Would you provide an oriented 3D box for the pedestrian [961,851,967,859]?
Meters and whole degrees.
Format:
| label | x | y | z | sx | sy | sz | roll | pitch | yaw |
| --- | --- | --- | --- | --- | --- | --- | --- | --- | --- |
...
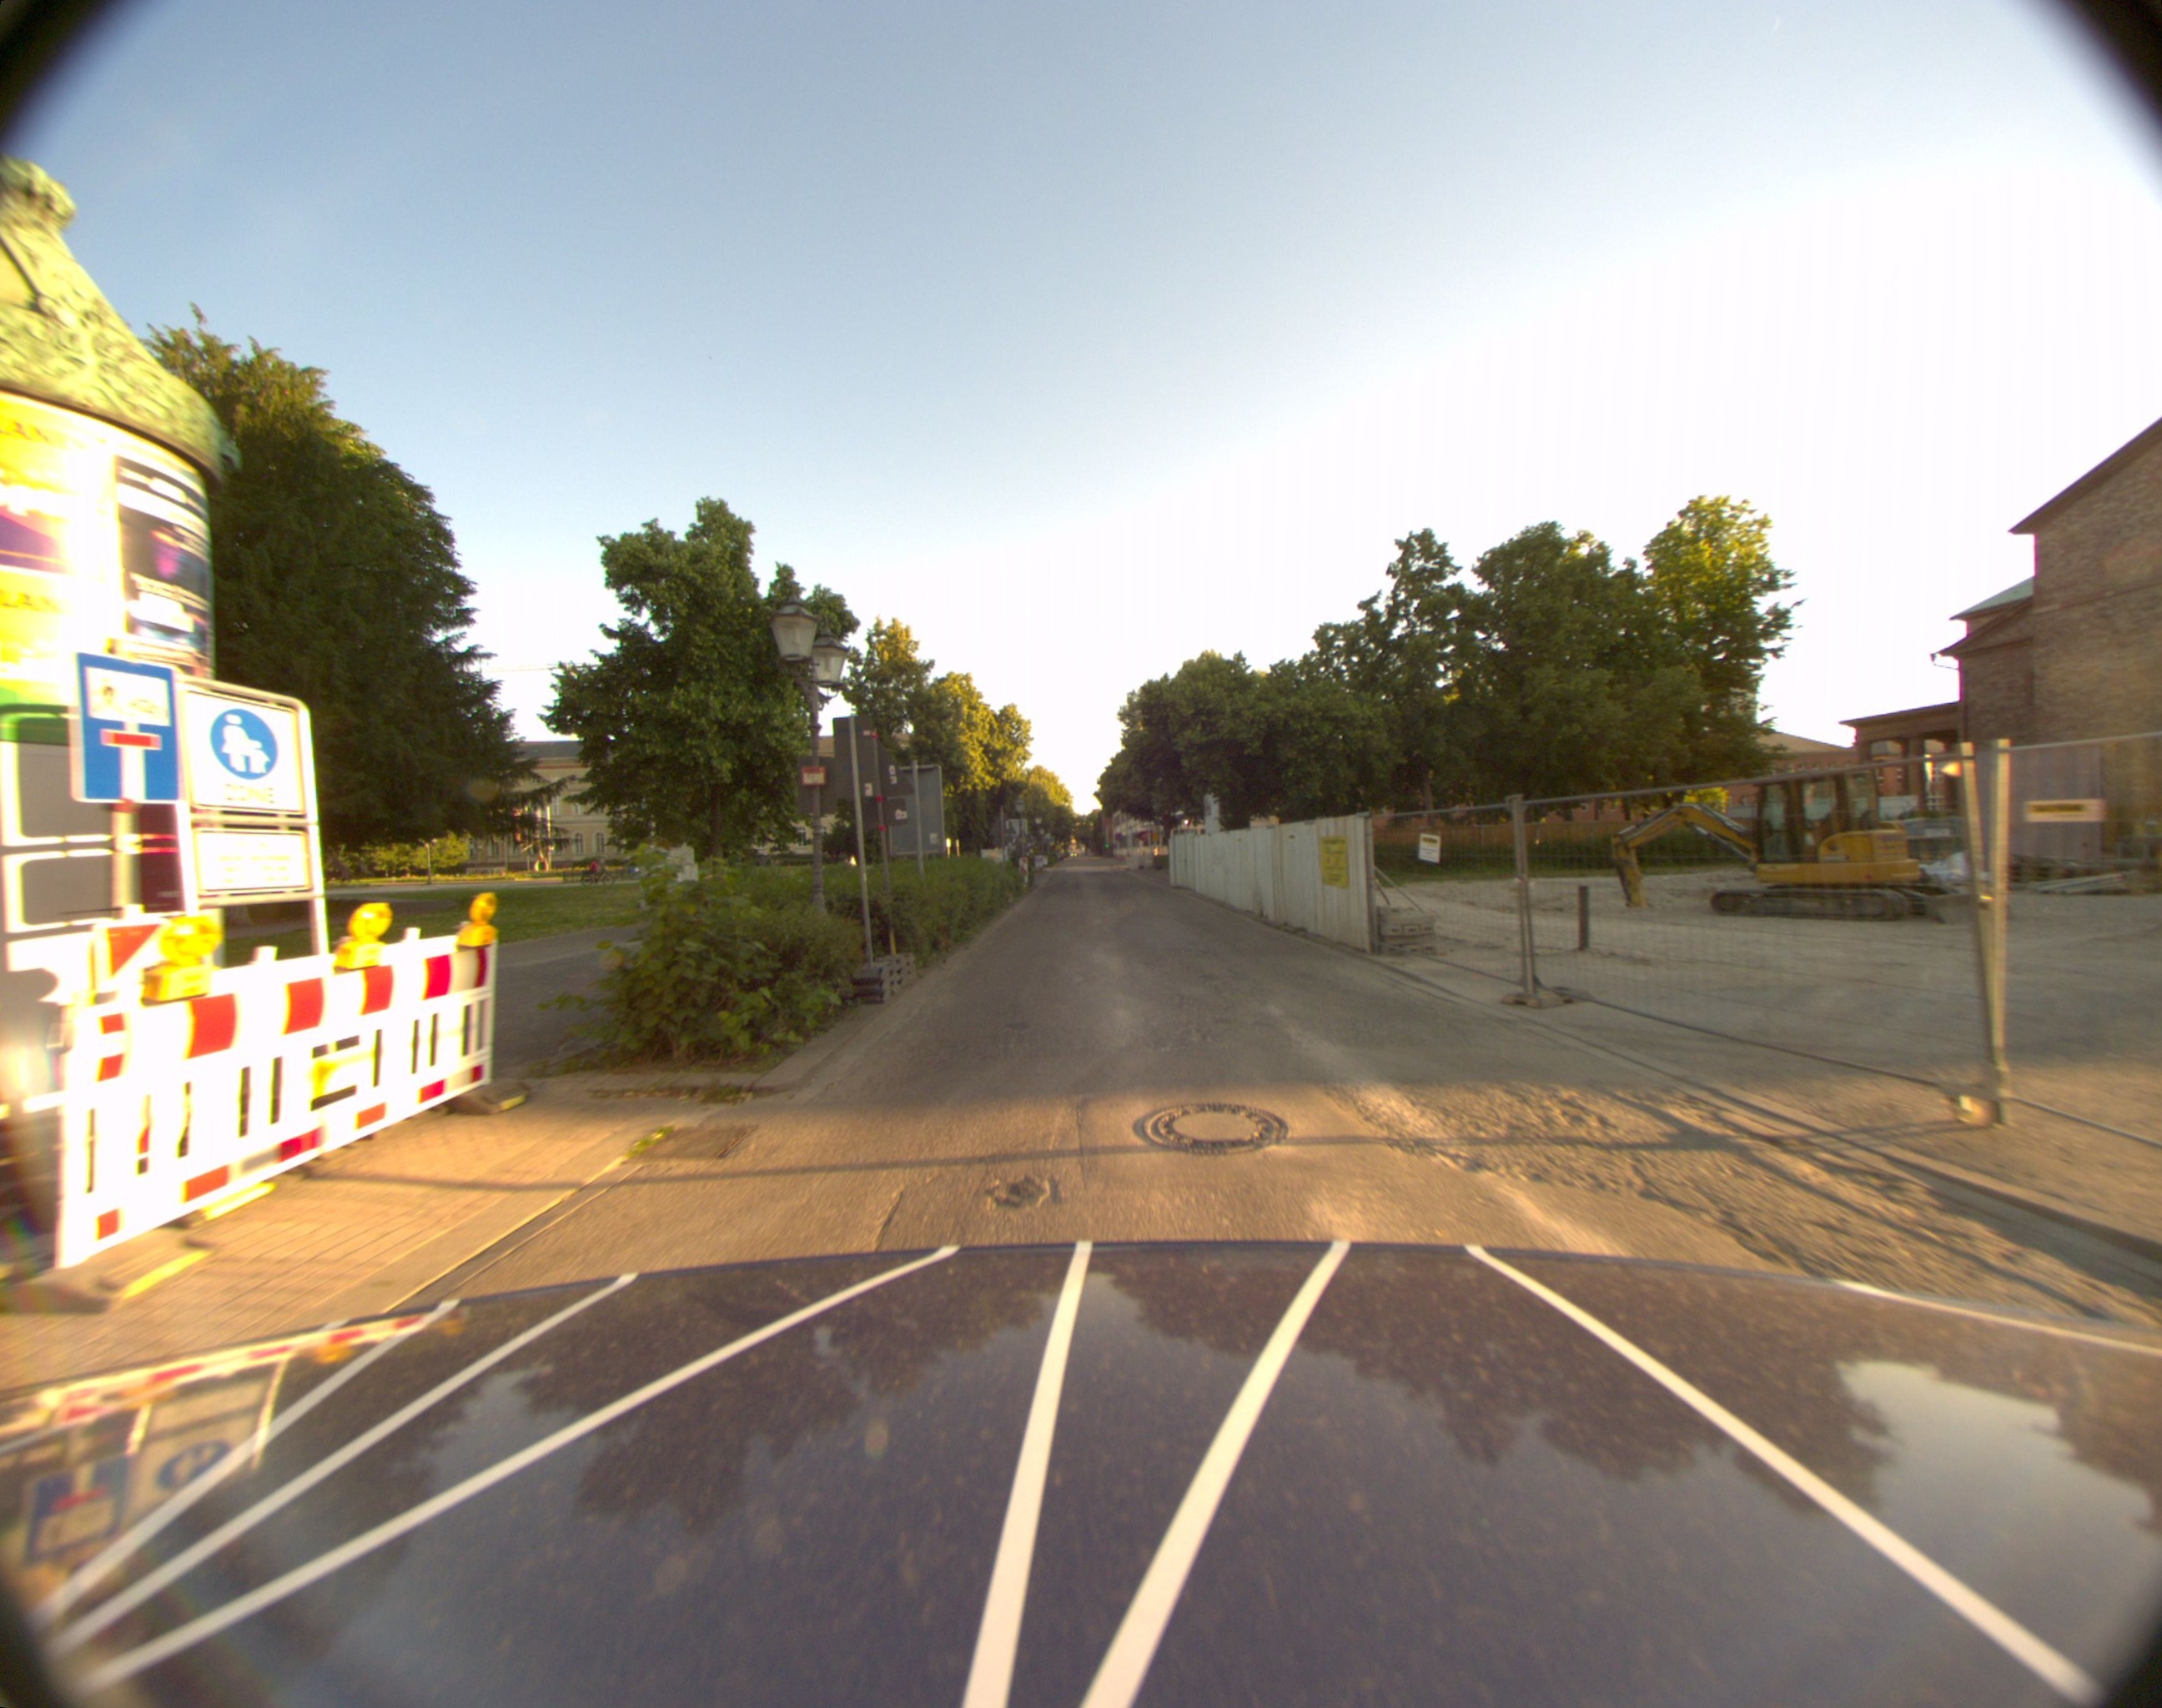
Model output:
| label | x | y | z | sx | sy | sz | roll | pitch | yaw |
| --- | --- | --- | --- | --- | --- | --- | --- | --- | --- |
| pedestrian | -15.138 | 0.156 | 98.368 | 0.605 | 1.044 | 0.394 | -2 | 1 | -37 |

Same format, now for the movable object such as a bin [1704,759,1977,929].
| label | x | y | z | sx | sy | sz | roll | pitch | yaw |
| --- | --- | --- | --- | --- | --- | --- | --- | --- | --- |
| movable object such as a bin | 13.060 | -0.176 | 13.226 | 2.161 | 2.588 | 2.742 | -2 | 1 | -22 |

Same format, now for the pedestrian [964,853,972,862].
| label | x | y | z | sx | sy | sz | roll | pitch | yaw |
| --- | --- | --- | --- | --- | --- | --- | --- | --- | --- |
| pedestrian | -14.778 | 0.452 | 99.359 | 0.798 | 1.044 | 0.394 | -2 | 1 | -36 |

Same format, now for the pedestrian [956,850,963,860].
| label | x | y | z | sx | sy | sz | roll | pitch | yaw |
| --- | --- | --- | --- | --- | --- | --- | --- | --- | --- |
| pedestrian | -17.441 | 0.187 | 108.936 | 0.754 | 1.435 | 0.816 | -2 | 1 | -35 |

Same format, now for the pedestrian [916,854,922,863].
| label | x | y | z | sx | sy | sz | roll | pitch | yaw |
| --- | --- | --- | --- | --- | --- | --- | --- | --- | --- |
| pedestrian | -20.619 | 0.523 | 96.629 | 0.394 | 1.102 | 0.605 | 0 | 1 | 45 |

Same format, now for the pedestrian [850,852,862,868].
| label | x | y | z | sx | sy | sz | roll | pitch | yaw |
| --- | --- | --- | --- | --- | --- | --- | --- | --- | --- |
| pedestrian | -22.142 | 0.573 | 74.798 | 0.859 | 1.616 | 0.757 | -1 | 1 | -2 |

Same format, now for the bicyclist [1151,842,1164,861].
| label | x | y | z | sx | sy | sz | roll | pitch | yaw |
| --- | --- | --- | --- | --- | --- | --- | --- | --- | --- |
| bicyclist | 7.133 | -0.236 | 70.994 | 1.057 | 1.793 | 0.674 | -1 | 1 | 24 |

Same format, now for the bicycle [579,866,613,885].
| label | x | y | z | sx | sy | sz | roll | pitch | yaw |
| --- | --- | --- | --- | --- | --- | --- | --- | --- | --- |
| bicycle | -31.595 | 1.366 | 49.500 | 1.778 | 1.170 | 0.564 | -1 | 1 | -35 |

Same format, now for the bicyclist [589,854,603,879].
| label | x | y | z | sx | sy | sz | roll | pitch | yaw |
| --- | --- | --- | --- | --- | --- | --- | --- | --- | --- |
| bicyclist | -31.592 | 0.830 | 49.503 | 0.678 | 1.623 | 0.657 | -2 | 1 | -35 |

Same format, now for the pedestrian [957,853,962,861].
| label | x | y | z | sx | sy | sz | roll | pitch | yaw |
| --- | --- | --- | --- | --- | --- | --- | --- | --- | --- |
| pedestrian | -15.816 | 0.383 | 98.811 | 0.605 | 1.044 | 0.394 | -2 | 1 | -33 |
